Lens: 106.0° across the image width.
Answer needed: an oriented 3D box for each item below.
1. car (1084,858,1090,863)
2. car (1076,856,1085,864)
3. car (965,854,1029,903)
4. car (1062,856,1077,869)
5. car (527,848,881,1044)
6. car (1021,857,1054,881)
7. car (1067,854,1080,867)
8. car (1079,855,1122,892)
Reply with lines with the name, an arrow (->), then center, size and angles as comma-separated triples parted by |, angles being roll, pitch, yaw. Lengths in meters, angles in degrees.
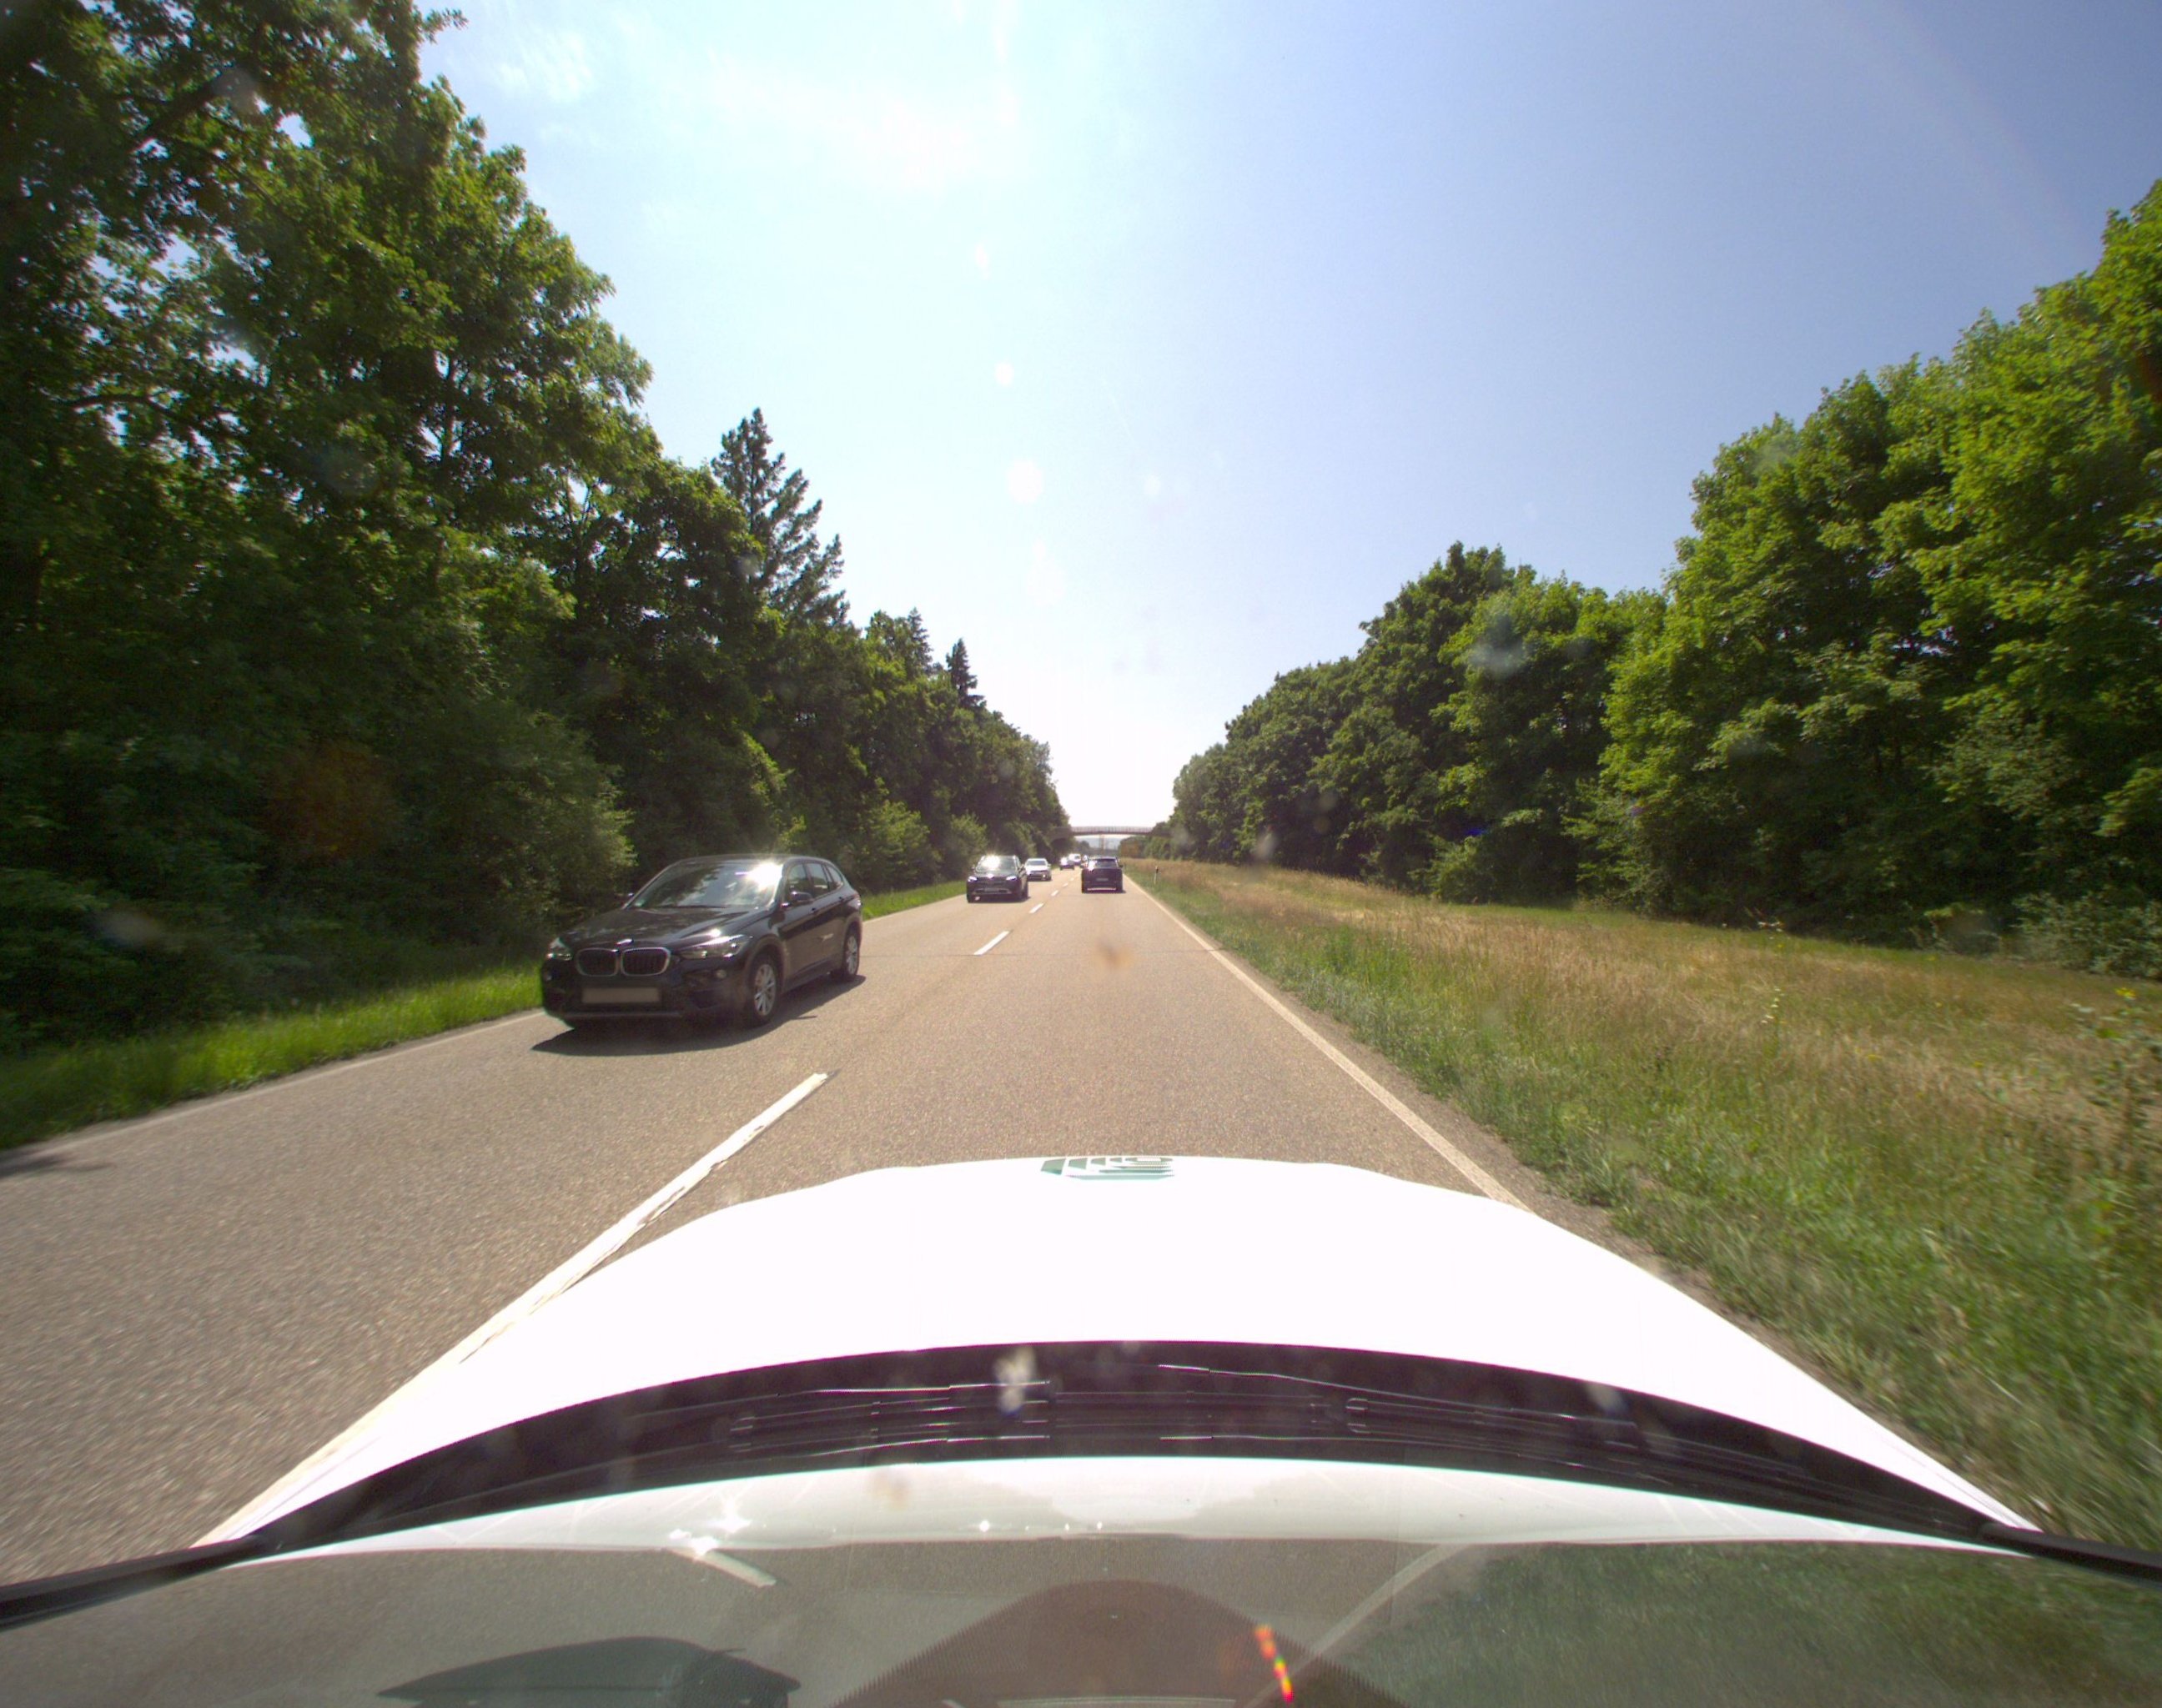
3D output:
car -> 1.712, 1.831, 234.157 | 1.671, 1.433, 3.774 | -2, 0, 2
car -> -0.066, 1.312, 178.249 | 1.676, 1.493, 4.001 | -2, 0, 1
car -> -3.002, 0.836, 29.977 | 1.859, 1.624, 4.201 | -1, 0, 1
car -> -1.408, 0.965, 97.383 | 1.666, 1.518, 4.000 | 0, -1, 1
car -> -3.709, 0.788, 9.042 | 1.746, 1.605, 4.442 | -1, -1, 1
car -> -2.858, 0.960, 54.190 | 1.833, 1.536, 4.658 | -1, 0, 1
car -> -1.119, 0.955, 123.084 | 1.868, 1.929, 4.988 | -1, 0, 1
car -> 0.915, 0.825, 35.980 | 1.748, 1.556, 4.003 | 0, -1, 3
